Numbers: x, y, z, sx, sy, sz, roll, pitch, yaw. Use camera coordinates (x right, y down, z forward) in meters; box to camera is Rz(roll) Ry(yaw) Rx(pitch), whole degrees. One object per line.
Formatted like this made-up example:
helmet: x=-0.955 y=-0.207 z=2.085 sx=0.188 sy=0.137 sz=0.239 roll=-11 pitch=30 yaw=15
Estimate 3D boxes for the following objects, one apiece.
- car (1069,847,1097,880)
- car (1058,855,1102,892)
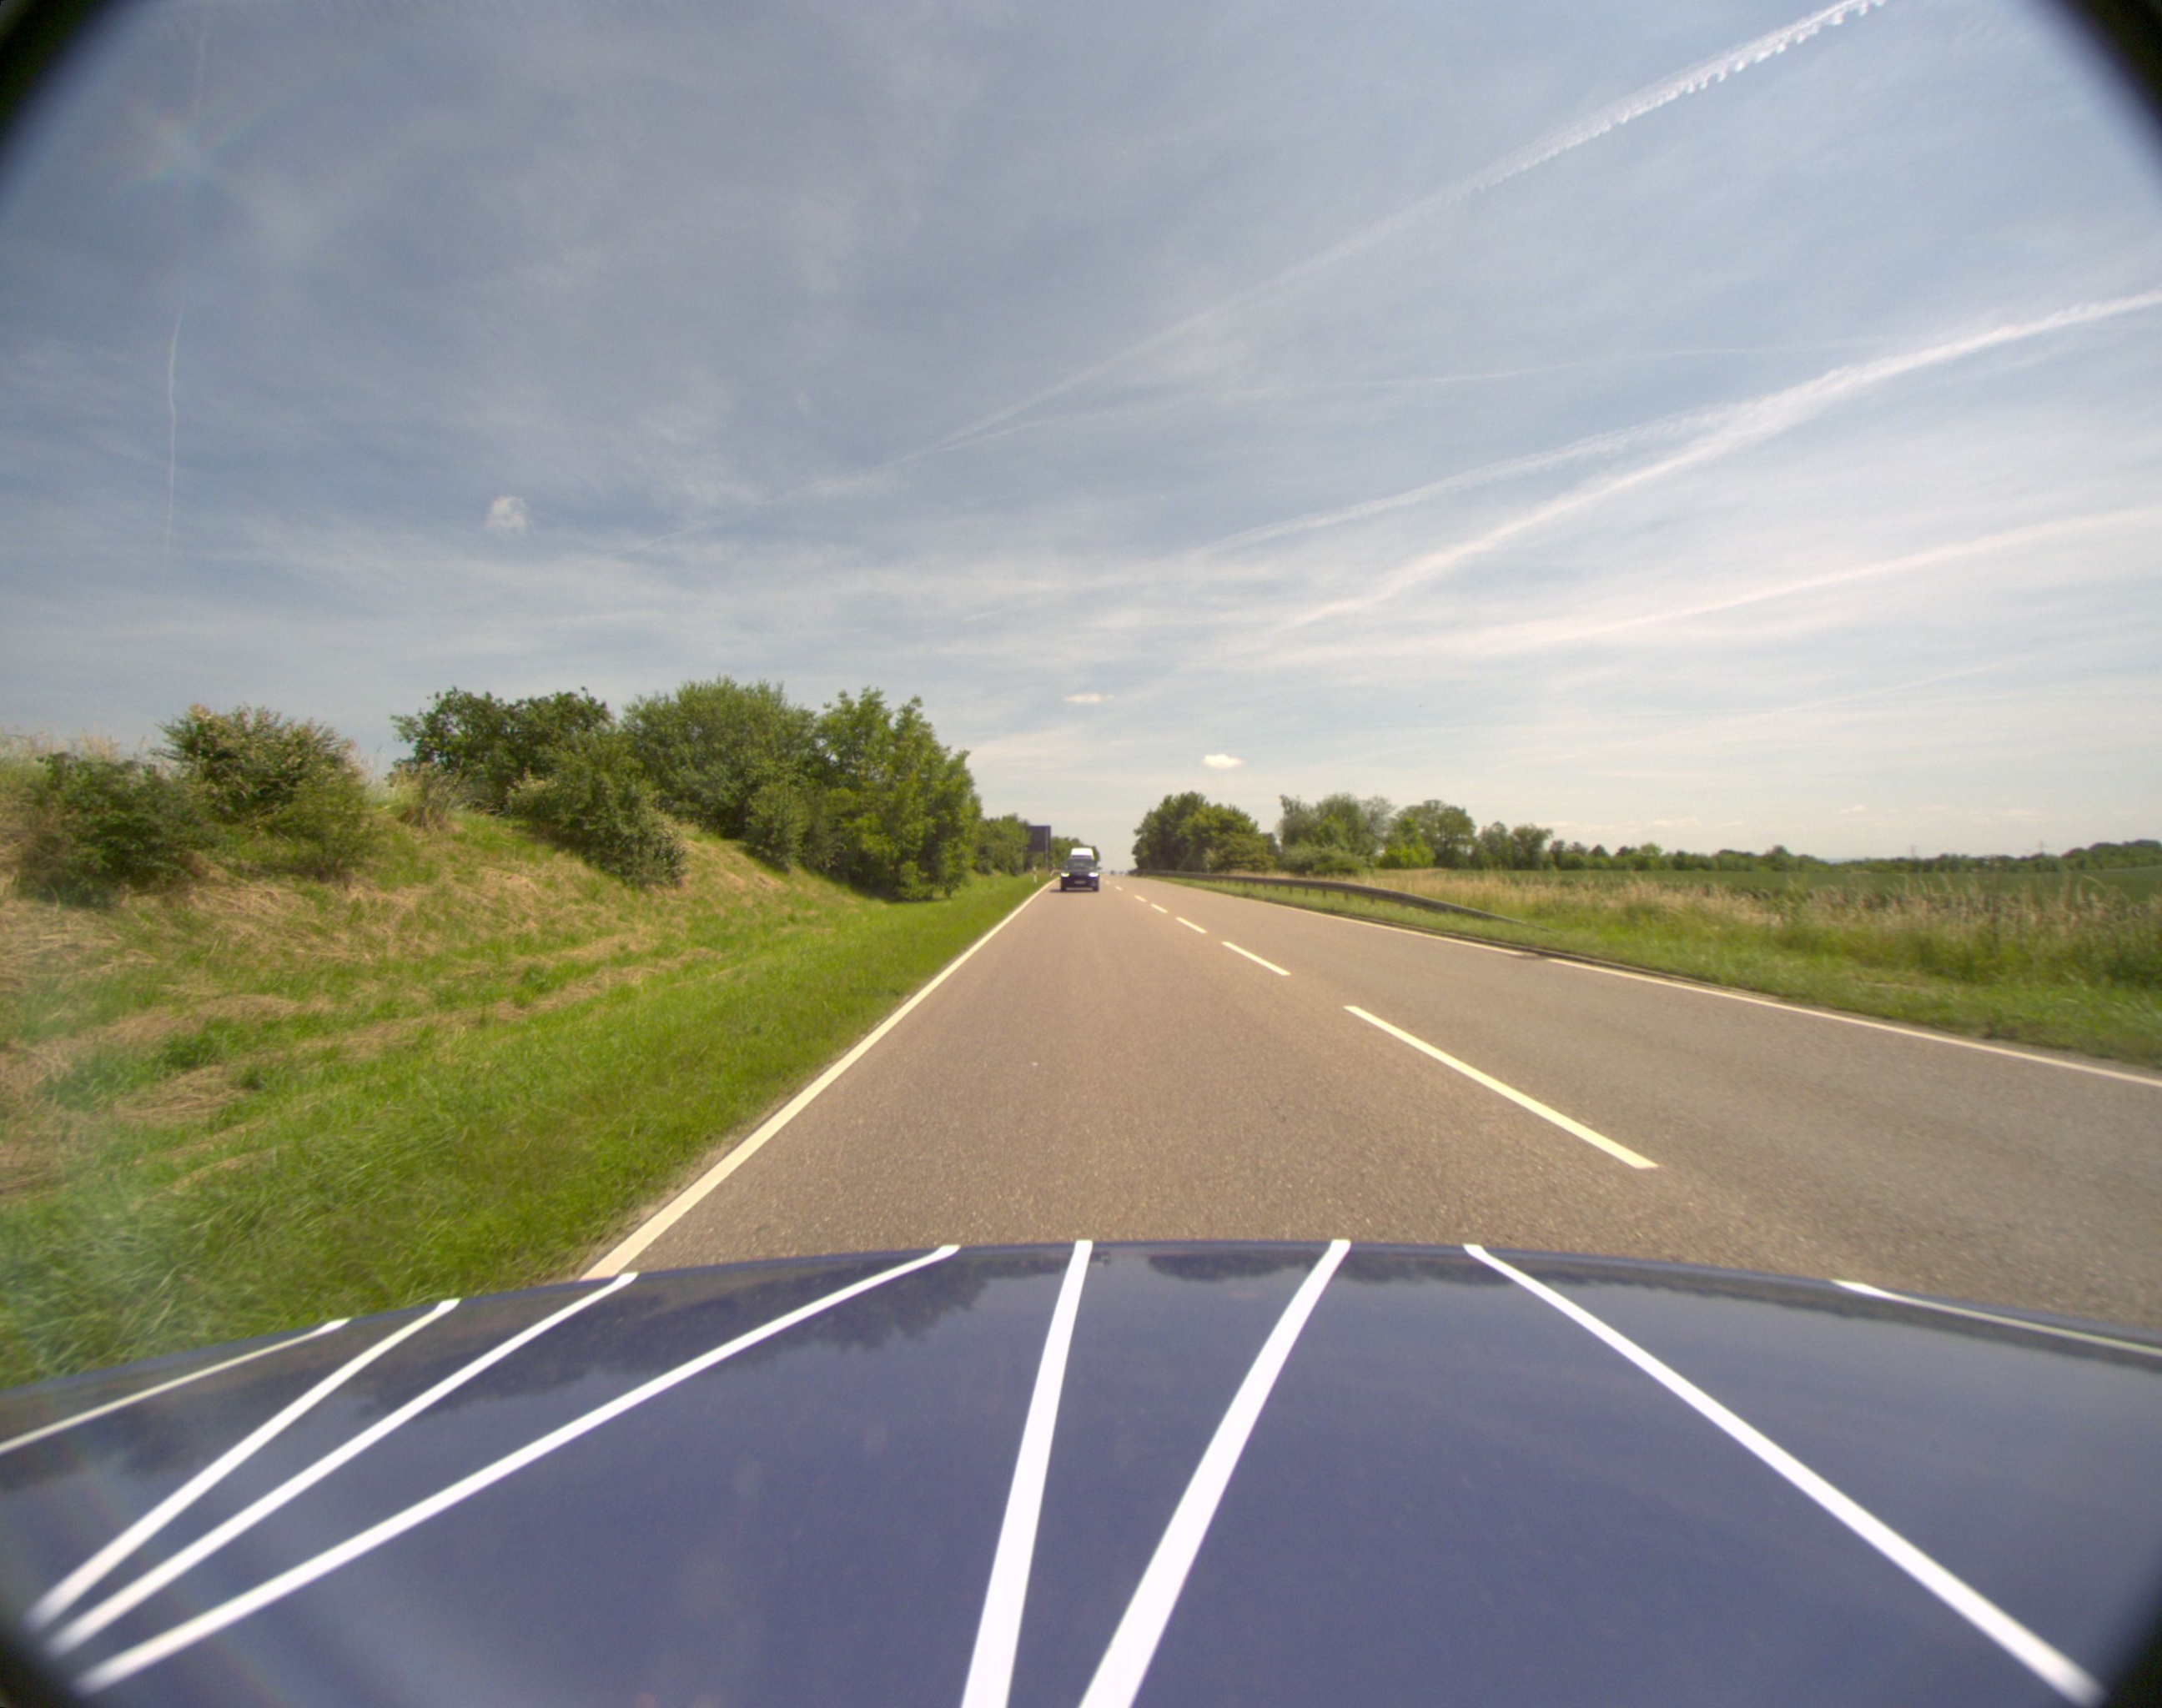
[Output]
car: x=0.211 y=0.728 z=63.584 sx=2.226 sy=2.617 sz=5.753 roll=-1 pitch=0 yaw=1
car: x=0.027 y=0.906 z=38.323 sx=2.039 sy=1.691 sz=5.513 roll=0 pitch=0 yaw=2
